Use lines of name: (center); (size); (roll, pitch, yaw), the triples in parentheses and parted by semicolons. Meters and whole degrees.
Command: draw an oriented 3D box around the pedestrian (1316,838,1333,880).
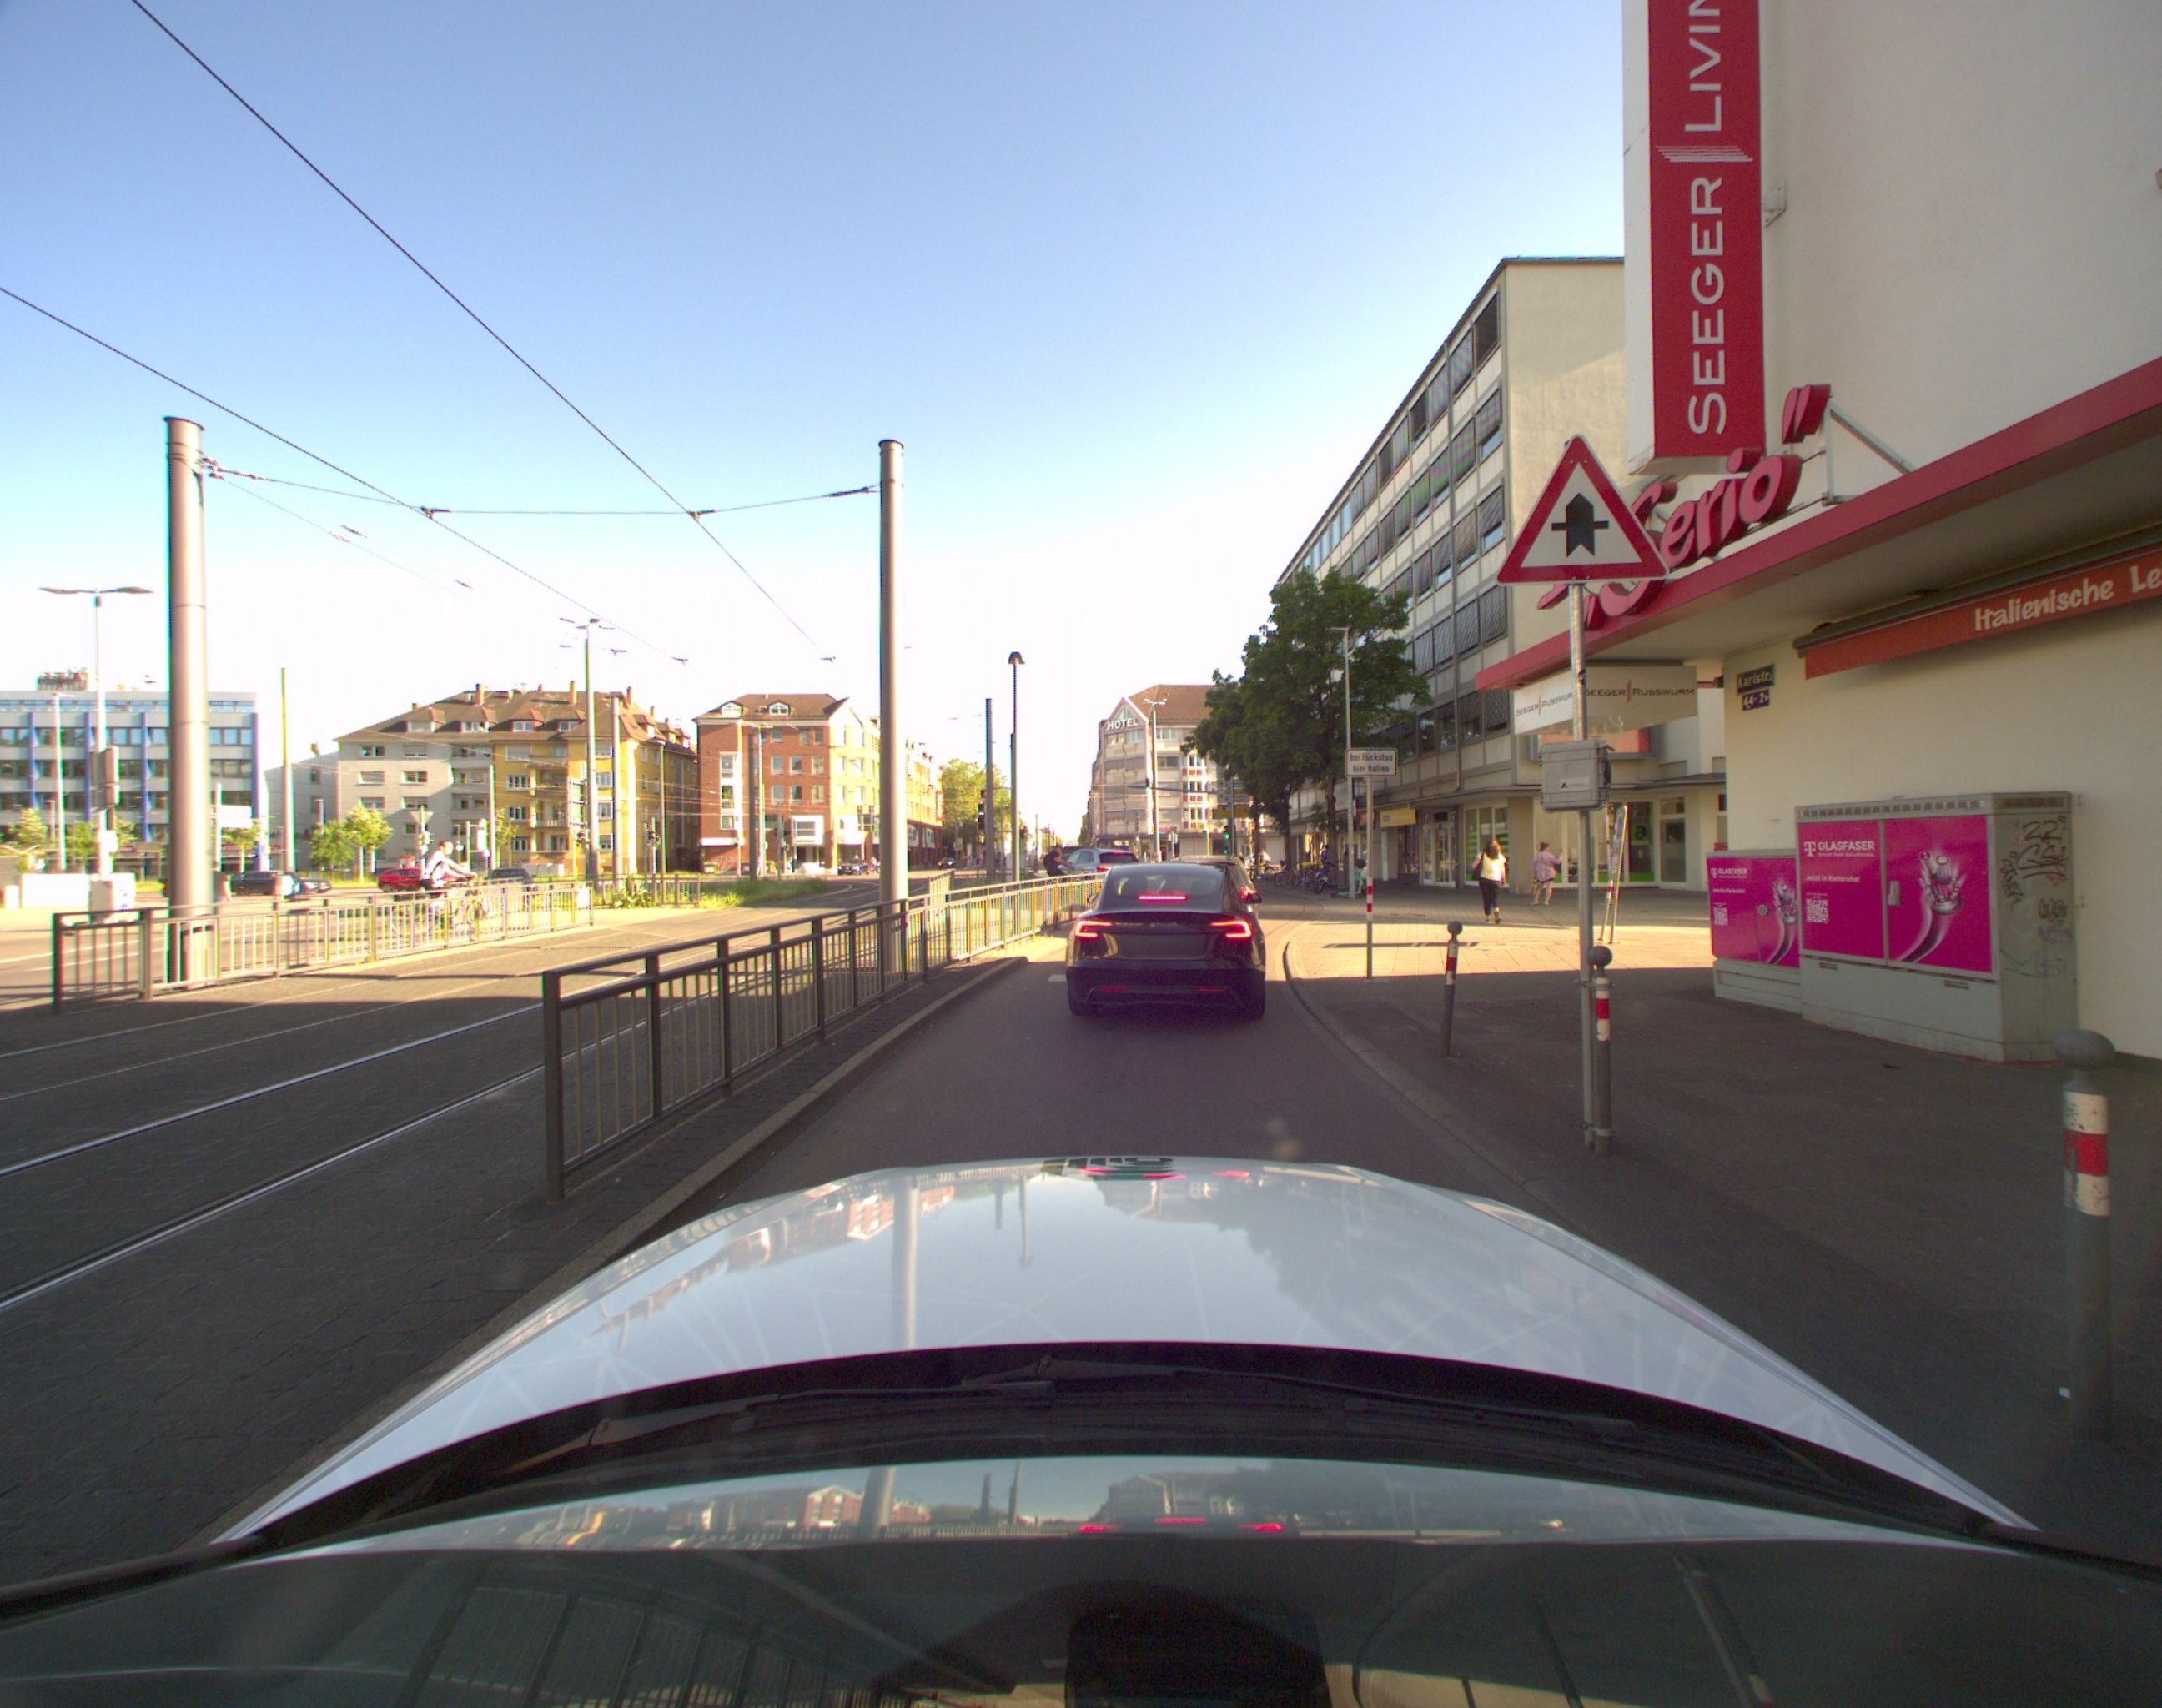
pedestrian: (11.711, 0.251, 39.210); (0.659, 2.014, 0.580); (0, -1, 4)

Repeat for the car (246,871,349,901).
car: (-45.493, 1.837, 47.380); (3.984, 1.672, 1.772); (0, -1, -8)

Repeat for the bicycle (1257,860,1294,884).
bicycle: (9.141, 0.834, 38.216); (1.643, 1.099, 0.350); (0, -1, 3)

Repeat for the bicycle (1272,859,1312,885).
bicycle: (9.119, 0.776, 35.263); (1.643, 1.099, 0.350); (0, -1, 3)

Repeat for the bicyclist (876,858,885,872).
bicyclist: (-22.285, 1.184, 90.607); (0.780, 1.563, 0.747); (-1, 0, 3)

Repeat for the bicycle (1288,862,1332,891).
bicycle: (8.818, 0.859, 31.366); (1.649, 1.061, 0.349); (0, -1, -9)

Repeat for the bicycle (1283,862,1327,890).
bicycle: (8.732, 0.856, 31.793); (1.649, 1.099, 0.349); (0, -1, -9)

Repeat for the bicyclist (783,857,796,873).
bicyclist: (-26.839, 1.020, 74.941); (0.699, 1.471, 0.975); (-1, 0, 9)

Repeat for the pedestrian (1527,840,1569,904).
pedestrian: (12.415, 0.480, 21.668); (0.881, 1.667, 0.813); (-1, -1, 25)

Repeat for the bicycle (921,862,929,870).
bicycle: (-22.182, 1.643, 115.600); (0.527, 1.088, 2.227); (0, -1, 4)

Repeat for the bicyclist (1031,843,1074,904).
bicyclist: (-0.795, 0.516, 22.414); (0.763, 1.628, 0.967); (0, -1, -37)

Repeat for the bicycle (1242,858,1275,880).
bicycle: (9.245, 0.788, 42.397); (1.643, 1.099, 0.350); (0, -1, 3)

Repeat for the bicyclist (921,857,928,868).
bicyclist: (-22.191, 1.216, 115.698); (0.780, 1.563, 0.747); (0, -1, 3)

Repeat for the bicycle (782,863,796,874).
bicycle: (-26.851, 1.358, 74.946); (0.402, 0.981, 1.699); (-1, -1, 10)

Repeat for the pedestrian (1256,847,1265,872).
pedestrian: (12.322, 0.365, 55.826); (0.524, 1.710, 0.403); (0, -1, 3)

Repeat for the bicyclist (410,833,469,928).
bicyclist: (-12.213, 0.494, 15.532); (0.755, 1.759, 0.751); (0, -1, -29)

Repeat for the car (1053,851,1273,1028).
car: (0.911, 0.724, 8.782); (1.820, 1.455, 4.007); (0, -1, 7)

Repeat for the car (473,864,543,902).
car: (-24.644, 1.215, 35.137); (1.647, 1.526, 3.836); (0, -1, -23)

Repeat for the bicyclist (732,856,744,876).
bicyclist: (-26.030, 0.918, 61.778); (0.631, 1.503, 0.696); (0, -1, 1)

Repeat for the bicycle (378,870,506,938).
bicycle: (-12.129, 0.922, 15.532); (1.860, 1.222, 0.481); (0, -1, -30)

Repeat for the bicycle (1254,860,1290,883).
bicycle: (9.206, 0.838, 39.242); (1.643, 1.099, 0.350); (0, -1, 3)

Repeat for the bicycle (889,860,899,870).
bicycle: (-21.837, 1.304, 94.986); (0.527, 1.088, 2.227); (-1, 0, 4)

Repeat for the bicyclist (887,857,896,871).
bicyclist: (-21.942, 1.115, 94.378); (0.780, 1.563, 0.747); (-1, 0, 3)

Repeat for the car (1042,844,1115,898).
car: (-0.191, 0.662, 32.775); (1.997, 2.014, 3.980); (-1, 0, -15)

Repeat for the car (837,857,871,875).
car: (-19.274, 1.026, 69.415); (1.705, 1.527, 4.036); (0, -1, 0)

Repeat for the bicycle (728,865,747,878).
bicycle: (-26.030, 1.328, 61.700); (0.445, 0.972, 2.247); (0, -1, 2)

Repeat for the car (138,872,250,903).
car: (-50.623, 1.877, 46.562); (3.952, 1.685, 1.903); (0, -1, -11)

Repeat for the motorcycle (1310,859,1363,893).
motorcycle: (9.146, 0.784, 29.173); (1.701, 1.173, 0.541); (0, -1, 0)

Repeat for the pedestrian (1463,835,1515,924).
pedestrian: (8.345, 0.508, 16.692); (0.906, 1.752, 1.044); (-1, -1, 25)

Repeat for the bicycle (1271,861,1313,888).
bicycle: (8.617, 0.844, 33.324); (1.649, 1.099, 0.349); (0, -1, -9)

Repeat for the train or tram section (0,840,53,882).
train or tram section: (-85.450, 0.586, 61.052); (11.233, 3.131, 2.795); (0, -1, -11)

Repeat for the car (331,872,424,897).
car: (-43.763, 1.892, 50.763); (3.990, 1.483, 1.786); (0, -1, -12)

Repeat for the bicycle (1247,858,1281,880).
bicycle: (9.264, 0.758, 41.303); (1.643, 1.099, 0.350); (-1, 0, 3)

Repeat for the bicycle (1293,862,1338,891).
bicycle: (8.896, 0.856, 30.943); (1.649, 1.099, 0.349); (0, -1, -9)

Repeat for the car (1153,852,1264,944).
car: (2.329, 0.694, 15.004); (1.741, 1.454, 4.009); (-1, 0, 8)

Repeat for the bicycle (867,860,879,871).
bicycle: (-22.489, 1.216, 87.931); (0.527, 1.088, 2.286); (-1, 0, 4)

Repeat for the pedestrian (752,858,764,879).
pedestrian: (-28.953, 1.314, 73.019); (0.780, 1.820, 0.747); (0, -1, 3)

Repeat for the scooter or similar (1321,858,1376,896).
scooter or similar: (8.899, 0.761, 27.103); (1.625, 1.215, 0.649); (-1, -1, 32)

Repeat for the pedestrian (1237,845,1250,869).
pedestrian: (11.123, 0.205, 55.734); (0.697, 1.662, 0.777); (0, -1, 1)

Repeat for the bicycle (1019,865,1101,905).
bicycle: (-0.566, 0.828, 22.573); (2.346, 1.053, 0.624); (0, -1, -36)

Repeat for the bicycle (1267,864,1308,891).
bicycle: (8.683, 0.977, 34.277); (1.649, 1.099, 0.349); (0, -1, -9)

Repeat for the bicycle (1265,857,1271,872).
bicycle: (12.746, 0.707, 55.477); (0.330, 1.034, 1.260); (-1, -1, 11)

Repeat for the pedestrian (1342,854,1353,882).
pedestrian: (12.753, 0.663, 39.011); (0.388, 1.343, 0.513); (0, -1, 4)

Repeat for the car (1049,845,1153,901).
car: (0.560, 0.585, 26.720); (1.891, 1.662, 4.126); (0, -1, -23)

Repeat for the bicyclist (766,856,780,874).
bicyclist: (-25.915, 0.907, 68.548); (0.895, 1.503, 0.696); (0, -1, 1)

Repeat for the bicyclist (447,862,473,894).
bicyclist: (-35.080, 1.335, 46.040); (0.901, 1.808, 0.788); (0, -1, -11)

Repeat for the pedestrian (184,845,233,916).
pedestrian: (-21.011, 0.624, 19.632); (0.585, 1.681, 0.779); (-1, -1, 45)

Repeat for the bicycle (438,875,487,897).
bicycle: (-34.957, 1.815, 46.074); (2.188, 1.214, 0.544); (0, -1, -11)

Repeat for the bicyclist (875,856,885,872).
bicyclist: (-19.697, 0.955, 79.863); (0.781, 1.527, 0.590); (0, -1, 6)

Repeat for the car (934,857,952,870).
car: (-17.907, 1.235, 105.662); (1.692, 1.731, 3.706); (0, -1, 0)

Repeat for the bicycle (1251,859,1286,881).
bicycle: (9.281, 0.795, 40.255); (1.643, 1.099, 0.350); (0, -1, 3)

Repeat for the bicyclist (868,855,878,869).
bicyclist: (-22.497, 0.846, 87.991); (0.780, 1.563, 0.747); (-1, 0, 3)

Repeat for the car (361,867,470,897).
car: (-39.458, 1.652, 48.375); (4.585, 1.700, 1.993); (0, -1, -10)

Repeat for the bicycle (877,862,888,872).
bicycle: (-22.202, 1.489, 91.273); (0.527, 1.088, 2.286); (0, -1, 4)

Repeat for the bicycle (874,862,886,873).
bicycle: (-19.694, 1.339, 79.734); (0.456, 1.093, 2.205); (0, -1, 6)

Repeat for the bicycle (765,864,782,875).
bicycle: (-25.874, 1.295, 68.575); (0.522, 0.972, 2.247); (0, -1, 2)
